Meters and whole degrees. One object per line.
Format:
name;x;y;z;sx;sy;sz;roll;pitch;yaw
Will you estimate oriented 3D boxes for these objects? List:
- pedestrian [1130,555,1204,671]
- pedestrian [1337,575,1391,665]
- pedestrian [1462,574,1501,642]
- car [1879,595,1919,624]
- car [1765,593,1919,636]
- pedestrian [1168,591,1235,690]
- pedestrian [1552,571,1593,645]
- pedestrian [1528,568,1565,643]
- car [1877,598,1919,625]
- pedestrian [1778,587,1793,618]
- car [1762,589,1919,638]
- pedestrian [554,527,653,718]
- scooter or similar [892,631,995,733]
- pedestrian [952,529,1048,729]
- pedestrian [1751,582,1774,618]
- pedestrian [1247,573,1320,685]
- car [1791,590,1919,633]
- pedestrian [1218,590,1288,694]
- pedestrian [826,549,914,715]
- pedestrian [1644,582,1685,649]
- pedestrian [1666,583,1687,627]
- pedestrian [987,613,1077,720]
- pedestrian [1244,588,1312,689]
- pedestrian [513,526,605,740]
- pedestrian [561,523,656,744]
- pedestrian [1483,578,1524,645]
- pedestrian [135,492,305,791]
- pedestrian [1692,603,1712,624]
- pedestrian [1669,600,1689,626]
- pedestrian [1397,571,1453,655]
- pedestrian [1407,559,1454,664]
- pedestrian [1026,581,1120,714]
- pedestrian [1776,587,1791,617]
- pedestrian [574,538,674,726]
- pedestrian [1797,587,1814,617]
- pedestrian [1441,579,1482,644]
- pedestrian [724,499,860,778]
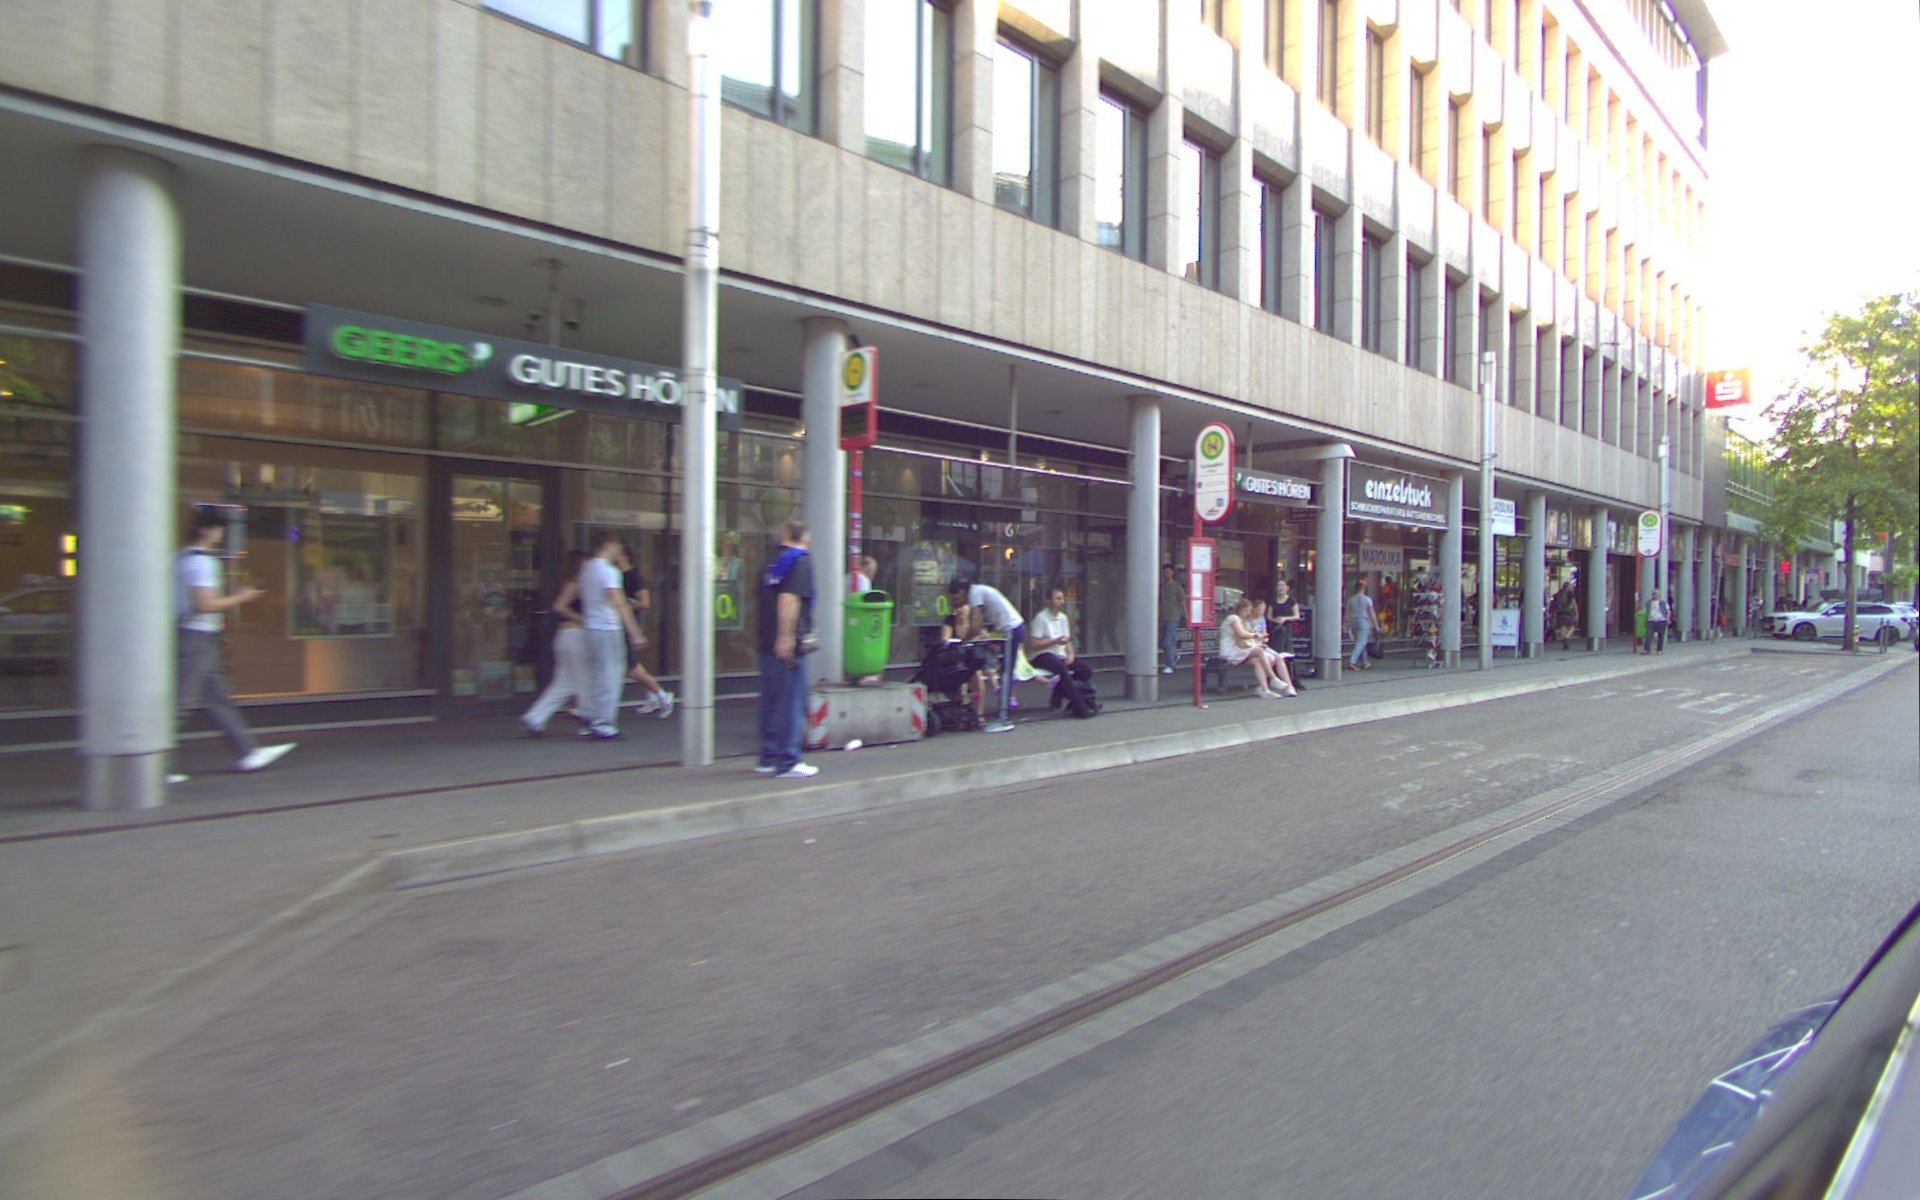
pedestrian;3.522;0.192;17.239;0.883;1.913;0.845;0;1;-42
pedestrian;7.715;0.365;19.344;0.709;1.682;0.688;0;1;-41
pedestrian;14.175;0.210;27.512;0.849;1.794;0.674;0;1;-43
car;60.634;0.574;63.480;3.956;1.809;1.849;-2;-2;24
car;35.736;0.551;40.864;4.582;1.457;1.905;3;2;21
pedestrian;3.335;0.539;13.988;0.523;1.331;0.719;0;0;-41
pedestrian;16.404;0.199;27.092;0.782;1.913;0.708;0;1;-42
pedestrian;15.309;0.141;26.403;0.672;1.913;0.617;0;1;-41
car;57.398;0.664;60.062;3.947;1.530;1.854;-2;-1;19
pedestrian;46.662;0.123;57.198;0.617;1.712;0.557;0;1;-42
car;33.983;0.514;38.841;4.573;1.650;1.908;3;0;16
pedestrian;-3.730;0.212;10.587;0.760;1.906;0.687;0;1;-43
scooter or similar;-0.167;0.761;9.693;0.673;0.895;0.837;0;-1;-28
pedestrian;0.385;0.260;9.861;0.656;1.862;0.641;0;1;-41
pedestrian;38.831;0.012;48.949;0.617;1.712;0.558;1;1;4
pedestrian;4.765;0.397;14.922;0.723;1.589;0.726;0;1;-41
car;39.216;0.497;43.802;4.569;1.607;1.911;3;2;14
pedestrian;3.907;0.540;13.508;0.523;1.331;0.719;0;0;-41
pedestrian;-0.952;0.315;10.691;0.639;1.682;0.649;0;1;-42
pedestrian;17.290;0.377;24.840;0.627;1.608;0.669;0;-1;-43
pedestrian;29.519;0.197;41.675;0.617;1.794;0.557;0;1;-42
pedestrian;0.752;0.675;10.662;0.534;1.055;0.814;0;0;-41
pedestrian;4.340;0.505;13.819;0.515;1.331;0.719;0;0;-41
pedestrian;-3.571;0.271;9.017;0.594;1.829;0.539;0;1;-43
pedestrian;-3.044;0.270;8.766;0.594;1.829;0.539;0;1;-43
pedestrian;13.996;0.285;26.053;0.775;1.664;0.681;0;1;-43
pedestrian;-4.998;0.246;6.838;0.865;1.862;0.669;0;1;-42
pedestrian;33.060;0.604;45.103;0.549;0.892;0.627;0;2;-42
pedestrian;30.170;0.544;42.486;0.625;1.048;0.550;2;1;40
pedestrian;10.345;0.270;22.504;0.844;1.819;0.845;0;1;-42
pedestrian;9.040;0.211;19.447;0.644;1.968;0.579;0;1;-42
pedestrian;1.242;0.496;11.181;0.651;1.398;0.814;0;0;-41
pedestrian;47.615;0.108;58.512;0.617;1.712;0.557;0;1;-42
pedestrian;-3.335;0.291;10.049;0.760;1.774;0.583;0;1;-43
pedestrian;48.794;0.106;58.389;0.617;1.712;0.617;0;1;-42
pedestrian;13.151;0.276;26.550;0.805;1.664;0.711;0;1;-43
pedestrian;-1.203;0.247;7.235;0.696;1.862;0.669;0;1;-43
